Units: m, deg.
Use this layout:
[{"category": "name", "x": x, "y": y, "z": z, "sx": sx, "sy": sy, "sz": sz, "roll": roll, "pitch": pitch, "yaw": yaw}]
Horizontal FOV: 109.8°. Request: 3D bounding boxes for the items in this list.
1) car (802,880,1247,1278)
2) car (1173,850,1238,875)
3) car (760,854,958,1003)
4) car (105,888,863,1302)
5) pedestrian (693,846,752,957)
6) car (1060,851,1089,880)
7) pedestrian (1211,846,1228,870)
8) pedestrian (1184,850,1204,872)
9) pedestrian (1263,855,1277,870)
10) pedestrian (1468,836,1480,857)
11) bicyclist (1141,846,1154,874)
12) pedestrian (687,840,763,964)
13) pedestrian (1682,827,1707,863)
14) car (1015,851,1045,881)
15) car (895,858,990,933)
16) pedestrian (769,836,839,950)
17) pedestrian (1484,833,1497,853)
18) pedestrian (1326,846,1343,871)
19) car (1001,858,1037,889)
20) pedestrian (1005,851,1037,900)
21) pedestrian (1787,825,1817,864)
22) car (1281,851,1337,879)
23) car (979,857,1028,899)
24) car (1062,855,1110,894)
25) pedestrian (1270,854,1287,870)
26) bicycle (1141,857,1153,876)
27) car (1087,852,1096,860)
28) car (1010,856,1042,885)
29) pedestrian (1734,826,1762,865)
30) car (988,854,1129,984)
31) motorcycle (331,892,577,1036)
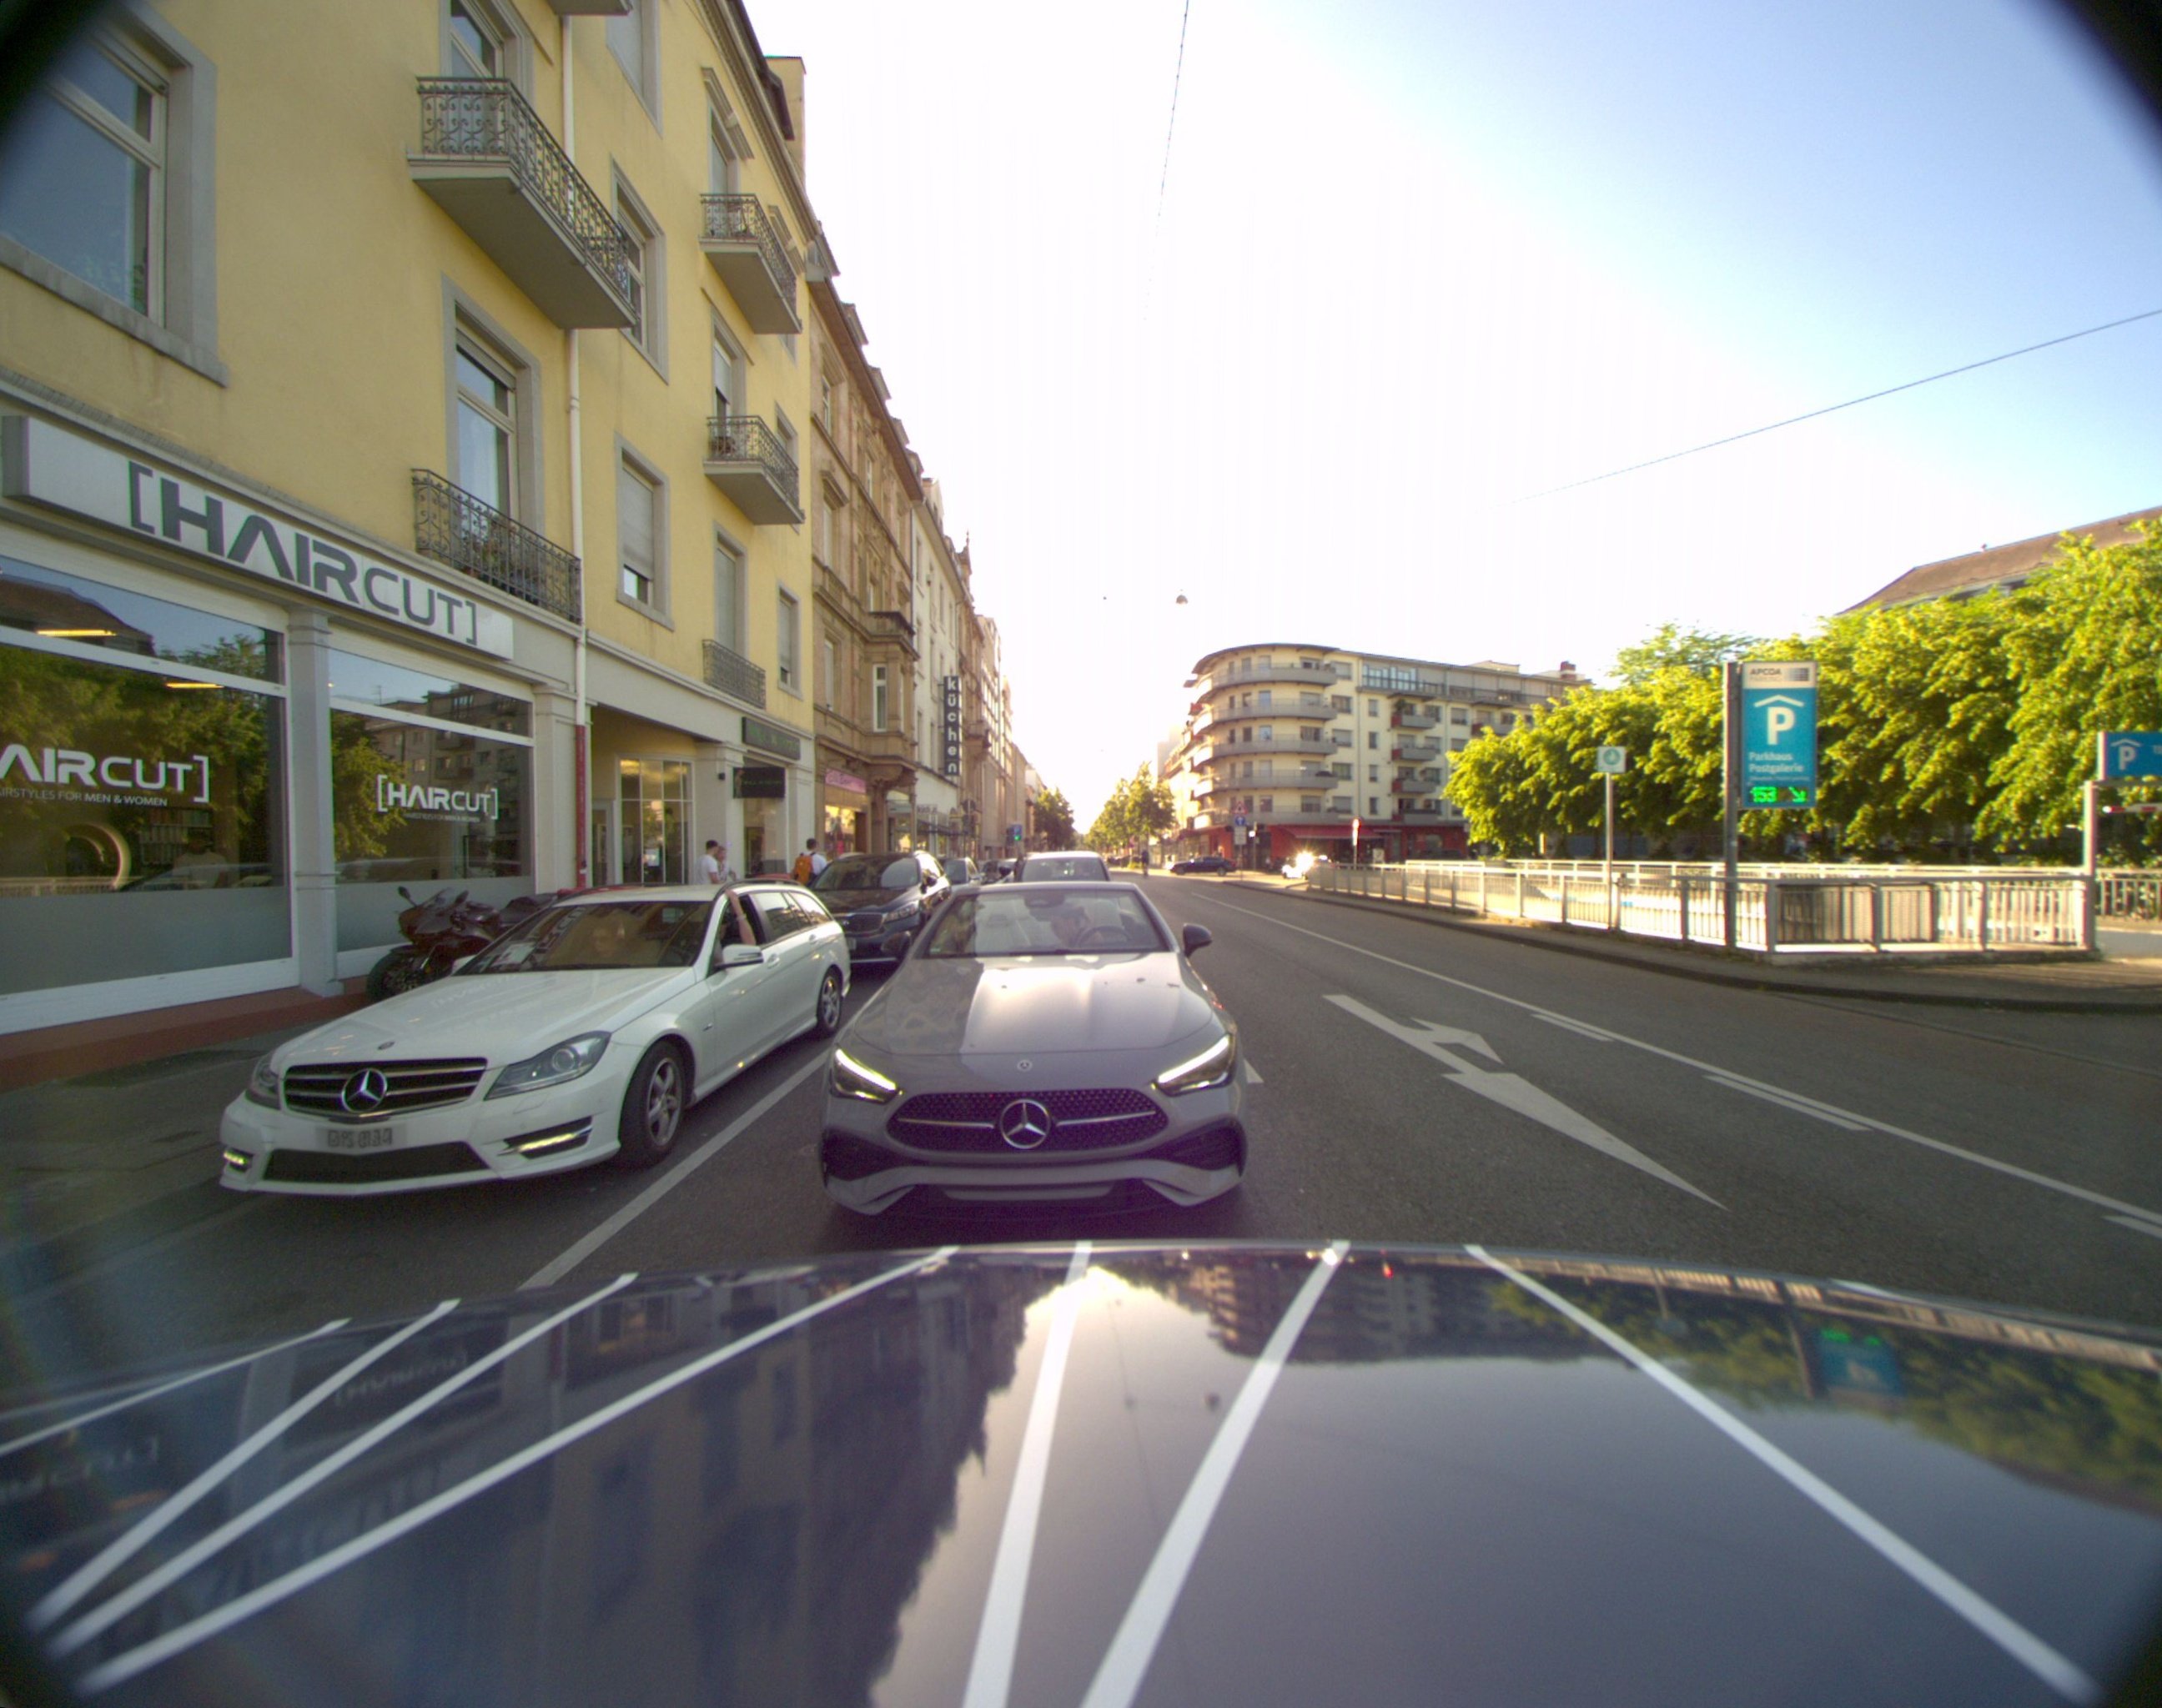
[{"category": "car", "x": -0.279, "y": 0.999, "z": 5.354, "sx": 1.769, "sy": 1.360, "sz": 4.471, "roll": -2, "pitch": 1, "yaw": -2}, {"category": "car", "x": 8.638, "y": 0.575, "z": 52.455, "sx": 4.242, "sy": 1.521, "sz": 1.678, "roll": -2, "pitch": 1, "yaw": 14}, {"category": "car", "x": -3.011, "y": 0.892, "z": 11.334, "sx": 1.806, "sy": 1.680, "sz": 4.408, "roll": -2, "pitch": 1, "yaw": -3}, {"category": "car", "x": -3.024, "y": 1.074, "z": 5.243, "sx": 1.672, "sy": 1.364, "sz": 4.377, "roll": -2, "pitch": 1, "yaw": 1}, {"category": "pedestrian", "x": -6.147, "y": 0.797, "z": 13.056, "sx": 0.630, "sy": 1.826, "sz": 0.770, "roll": -2, "pitch": 1, "yaw": -7}, {"category": "car", "x": -0.412, "y": 0.690, "z": 47.875, "sx": 1.695, "sy": 1.635, "sz": 3.599, "roll": -2, "pitch": 1, "yaw": -1}, {"category": "pedestrian", "x": 11.151, "y": 0.292, "z": 61.295, "sx": 0.992, "sy": 1.908, "sz": 0.789, "roll": -3, "pitch": 1, "yaw": -31}, {"category": "pedestrian", "x": 8.833, "y": 0.545, "z": 59.555, "sx": 1.066, "sy": 1.709, "sz": 1.083, "roll": -1, "pitch": 1, "yaw": 39}, {"category": "pedestrian", "x": 14.924, "y": 0.667, "z": 60.035, "sx": 0.780, "sy": 1.191, "sz": 0.884, "roll": -2, "pitch": 1, "yaw": -10}, {"category": "pedestrian", "x": 35.681, "y": -0.693, "z": 68.985, "sx": 0.685, "sy": 1.832, "sz": 0.746, "roll": -3, "pitch": 1, "yaw": -34}, {"category": "bicyclist", "x": 4.160, "y": 0.379, "z": 47.667, "sx": 0.703, "sy": 1.700, "sz": 0.810, "roll": 0, "pitch": 1, "yaw": 0}, {"category": "pedestrian", "x": -5.655, "y": 0.731, "z": 12.073, "sx": 0.975, "sy": 1.866, "sz": 0.534, "roll": -3, "pitch": 1, "yaw": -31}, {"category": "pedestrian", "x": 31.820, "y": -0.464, "z": 39.398, "sx": 0.748, "sy": 1.832, "sz": 0.683, "roll": -3, "pitch": 1, "yaw": -21}, {"category": "car", "x": -3.151, "y": 0.719, "z": 47.543, "sx": 1.695, "sy": 1.670, "sz": 3.880, "roll": -2, "pitch": 1, "yaw": -3}, {"category": "car", "x": -3.180, "y": 0.908, "z": 17.985, "sx": 1.583, "sy": 1.514, "sz": 2.998, "roll": -2, "pitch": 1, "yaw": 1}, {"category": "pedestrian", "x": -4.624, "y": 0.614, "z": 12.752, "sx": 0.811, "sy": 1.812, "sz": 0.982, "roll": -2, "pitch": 2, "yaw": -5}, {"category": "pedestrian", "x": 38.364, "y": -1.001, "z": 71.185, "sx": 0.747, "sy": 1.832, "sz": 0.684, "roll": -2, "pitch": 1, "yaw": 1}, {"category": "pedestrian", "x": 18.929, "y": 0.332, "z": 56.751, "sx": 0.960, "sy": 1.739, "sz": 1.063, "roll": -1, "pitch": 1, "yaw": 34}, {"category": "car", "x": -2.953, "y": 0.903, "z": 36.677, "sx": 1.461, "sy": 1.310, "sz": 3.363, "roll": -2, "pitch": 1, "yaw": -1}, {"category": "pedestrian", "x": -2.197, "y": 0.778, "z": 27.706, "sx": 0.836, "sy": 1.709, "sz": 0.821, "roll": -2, "pitch": 1, "yaw": 19}, {"category": "pedestrian", "x": 34.148, "y": -0.448, "z": 35.984, "sx": 0.748, "sy": 1.832, "sz": 0.683, "roll": -2, "pitch": 1, "yaw": -13}, {"category": "car", "x": 13.289, "y": 0.605, "z": 44.470, "sx": 1.639, "sy": 1.521, "sz": 3.905, "roll": -2, "pitch": 1, "yaw": -8}, {"category": "car", "x": -3.025, "y": 0.905, "z": 30.308, "sx": 1.695, "sy": 1.482, "sz": 3.796, "roll": -2, "pitch": 1, "yaw": -3}, {"category": "car", "x": 0.147, "y": 0.808, "z": 31.407, "sx": 1.695, "sy": 1.437, "sz": 3.575, "roll": -2, "pitch": 1, "yaw": -3}, {"category": "pedestrian", "x": 15.430, "y": 0.655, "z": 59.376, "sx": 0.937, "sy": 1.191, "sz": 0.832, "roll": -3, "pitch": 1, "yaw": -24}, {"category": "bicycle", "x": 4.168, "y": 0.765, "z": 47.859, "sx": 0.617, "sy": 1.156, "sz": 1.957, "roll": 1, "pitch": 1, "yaw": 1}, {"category": "car", "x": 2.413, "y": 0.454, "z": 174.824, "sx": 1.836, "sy": 1.831, "sz": 3.886, "roll": 1, "pitch": 1, "yaw": -2}, {"category": "car", "x": -2.941, "y": 0.869, "z": 40.945, "sx": 1.461, "sy": 1.391, "sz": 3.363, "roll": -2, "pitch": 1, "yaw": -1}, {"category": "pedestrian", "x": 32.236, "y": -0.393, "z": 36.724, "sx": 0.748, "sy": 1.852, "sz": 0.683, "roll": -2, "pitch": 1, "yaw": -13}, {"category": "car", "x": -0.363, "y": 0.896, "z": 12.754, "sx": 1.866, "sy": 1.658, "sz": 4.706, "roll": -2, "pitch": 1, "yaw": -2}, {"category": "motorcycle", "x": -6.253, "y": 1.026, "z": 7.784, "sx": 0.735, "sy": 1.124, "sz": 2.109, "roll": 2, "pitch": 1, "yaw": 1}]
